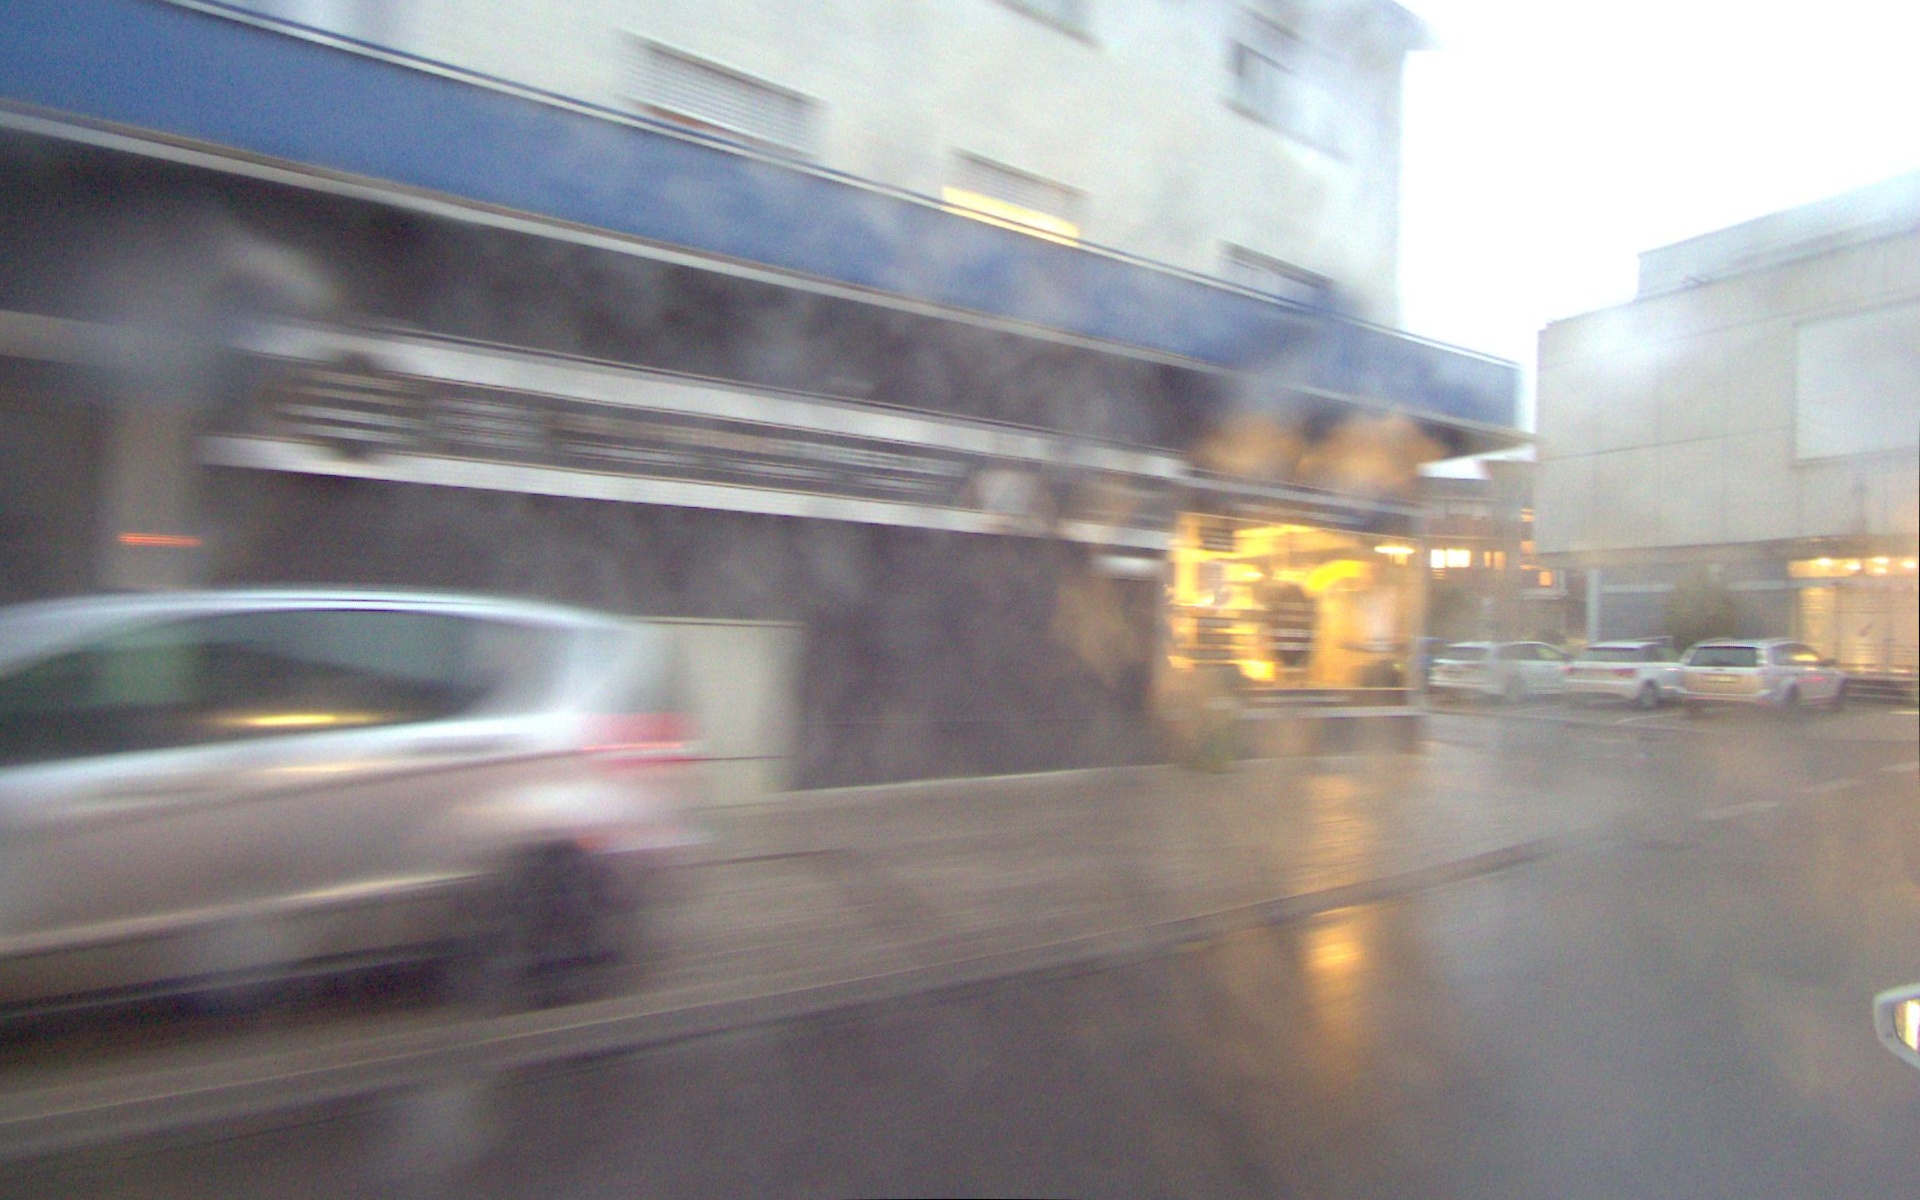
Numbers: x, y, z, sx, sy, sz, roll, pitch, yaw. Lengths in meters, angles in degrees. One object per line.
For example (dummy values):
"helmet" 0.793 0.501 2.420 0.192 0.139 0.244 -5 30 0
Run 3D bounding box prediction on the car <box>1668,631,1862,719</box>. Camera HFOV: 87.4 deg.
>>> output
"car" 16.261 1.431 20.234 4.402 1.520 1.754 0 -1 -33

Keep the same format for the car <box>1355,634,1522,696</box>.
"car" 13.095 1.728 27.460 4.389 1.483 1.693 0 -1 -25

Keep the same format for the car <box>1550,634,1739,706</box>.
"car" 15.552 1.522 22.787 4.394 1.419 1.691 0 -1 -28

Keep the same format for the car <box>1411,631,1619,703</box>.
"car" 13.781 1.585 24.909 4.978 1.520 2.095 0 -1 -27

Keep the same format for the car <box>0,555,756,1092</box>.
"car" -2.922 0.672 4.037 3.769 1.636 1.713 1 1 -29

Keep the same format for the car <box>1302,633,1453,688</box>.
"car" 12.634 1.785 30.390 4.389 1.483 1.693 0 -1 -25
